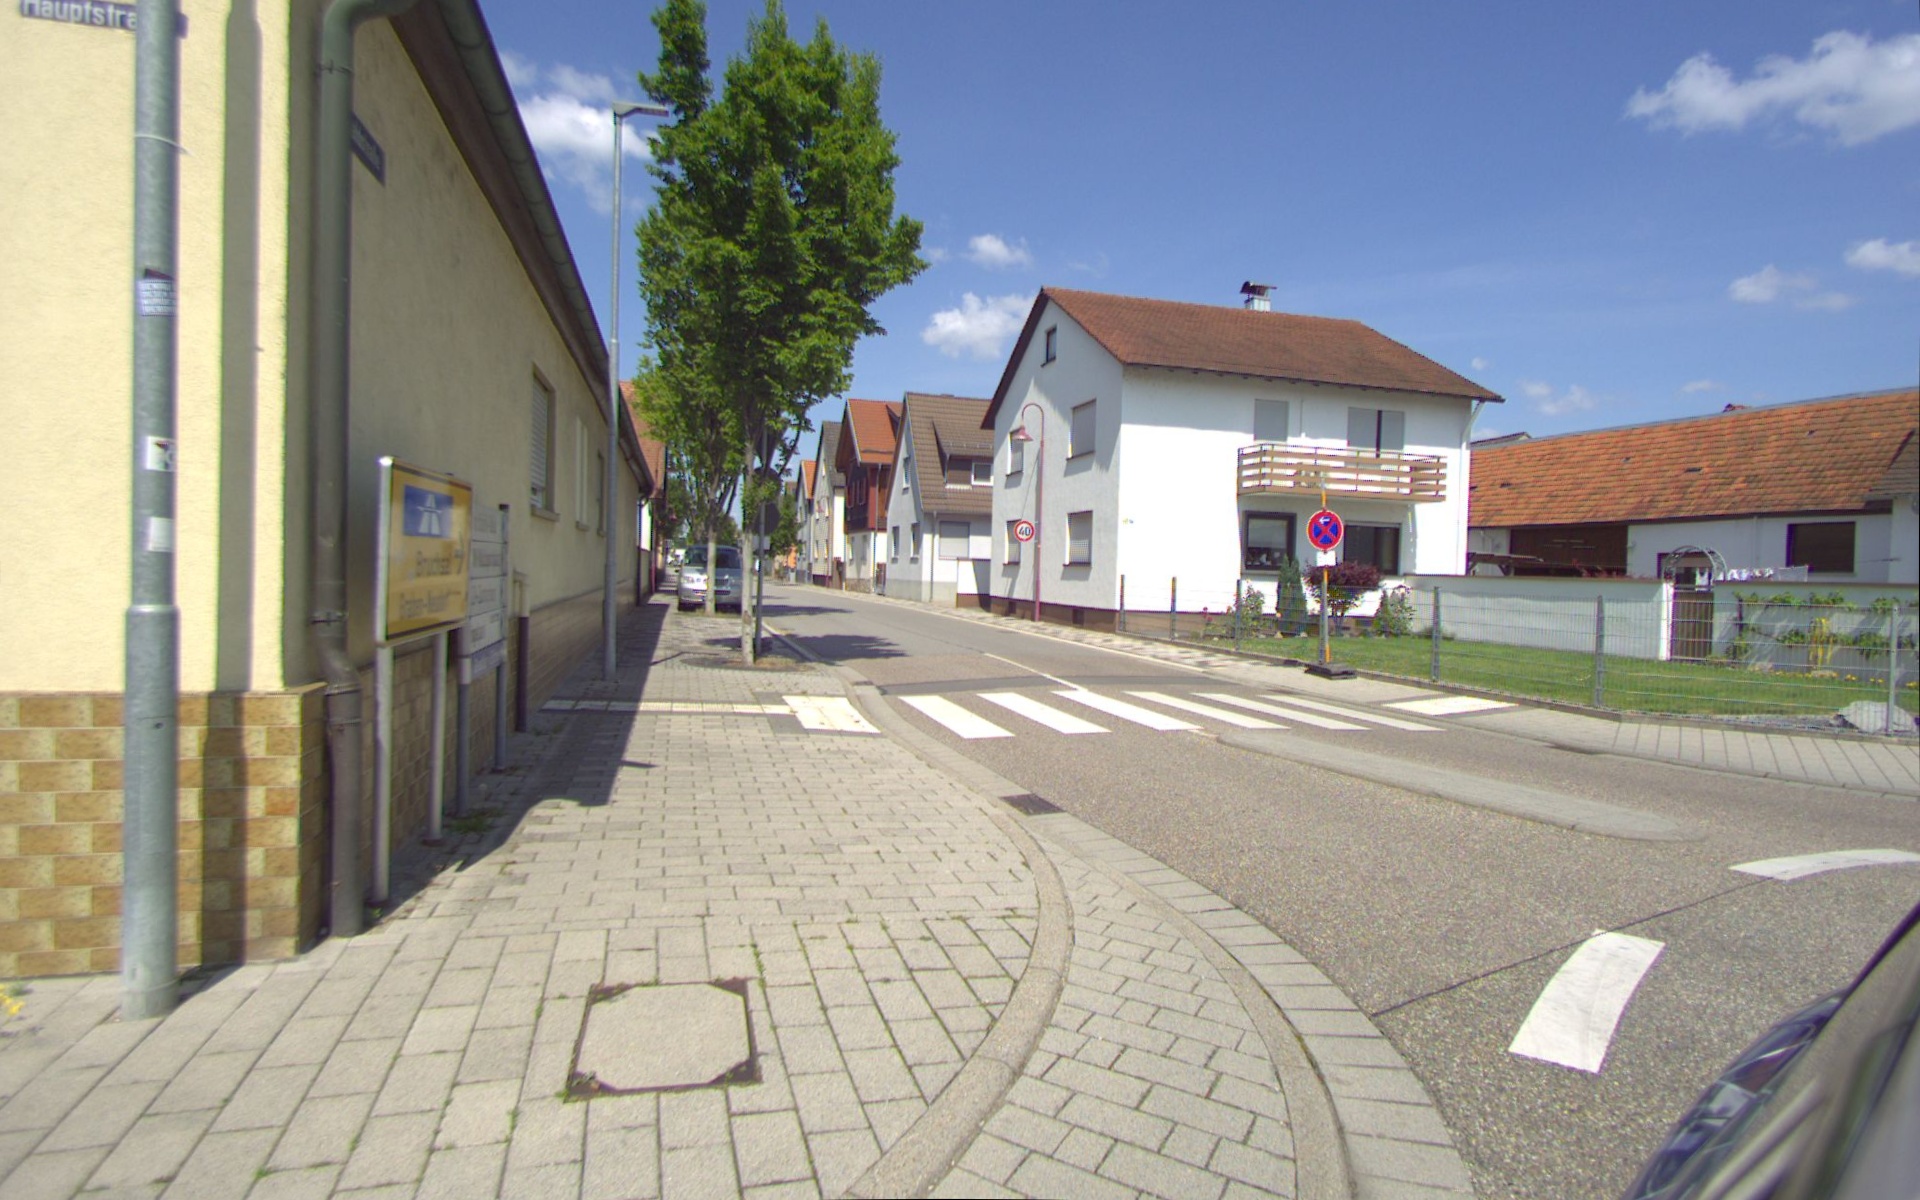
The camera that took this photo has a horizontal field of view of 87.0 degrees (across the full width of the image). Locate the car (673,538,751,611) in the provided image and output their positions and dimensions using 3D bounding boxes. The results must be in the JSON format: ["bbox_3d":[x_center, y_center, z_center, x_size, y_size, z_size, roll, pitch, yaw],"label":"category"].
[{"bbox_3d":[-7.498,-0.781,30.330,1.958,1.962,4.489,2,2,-17],"label":"car"}]
